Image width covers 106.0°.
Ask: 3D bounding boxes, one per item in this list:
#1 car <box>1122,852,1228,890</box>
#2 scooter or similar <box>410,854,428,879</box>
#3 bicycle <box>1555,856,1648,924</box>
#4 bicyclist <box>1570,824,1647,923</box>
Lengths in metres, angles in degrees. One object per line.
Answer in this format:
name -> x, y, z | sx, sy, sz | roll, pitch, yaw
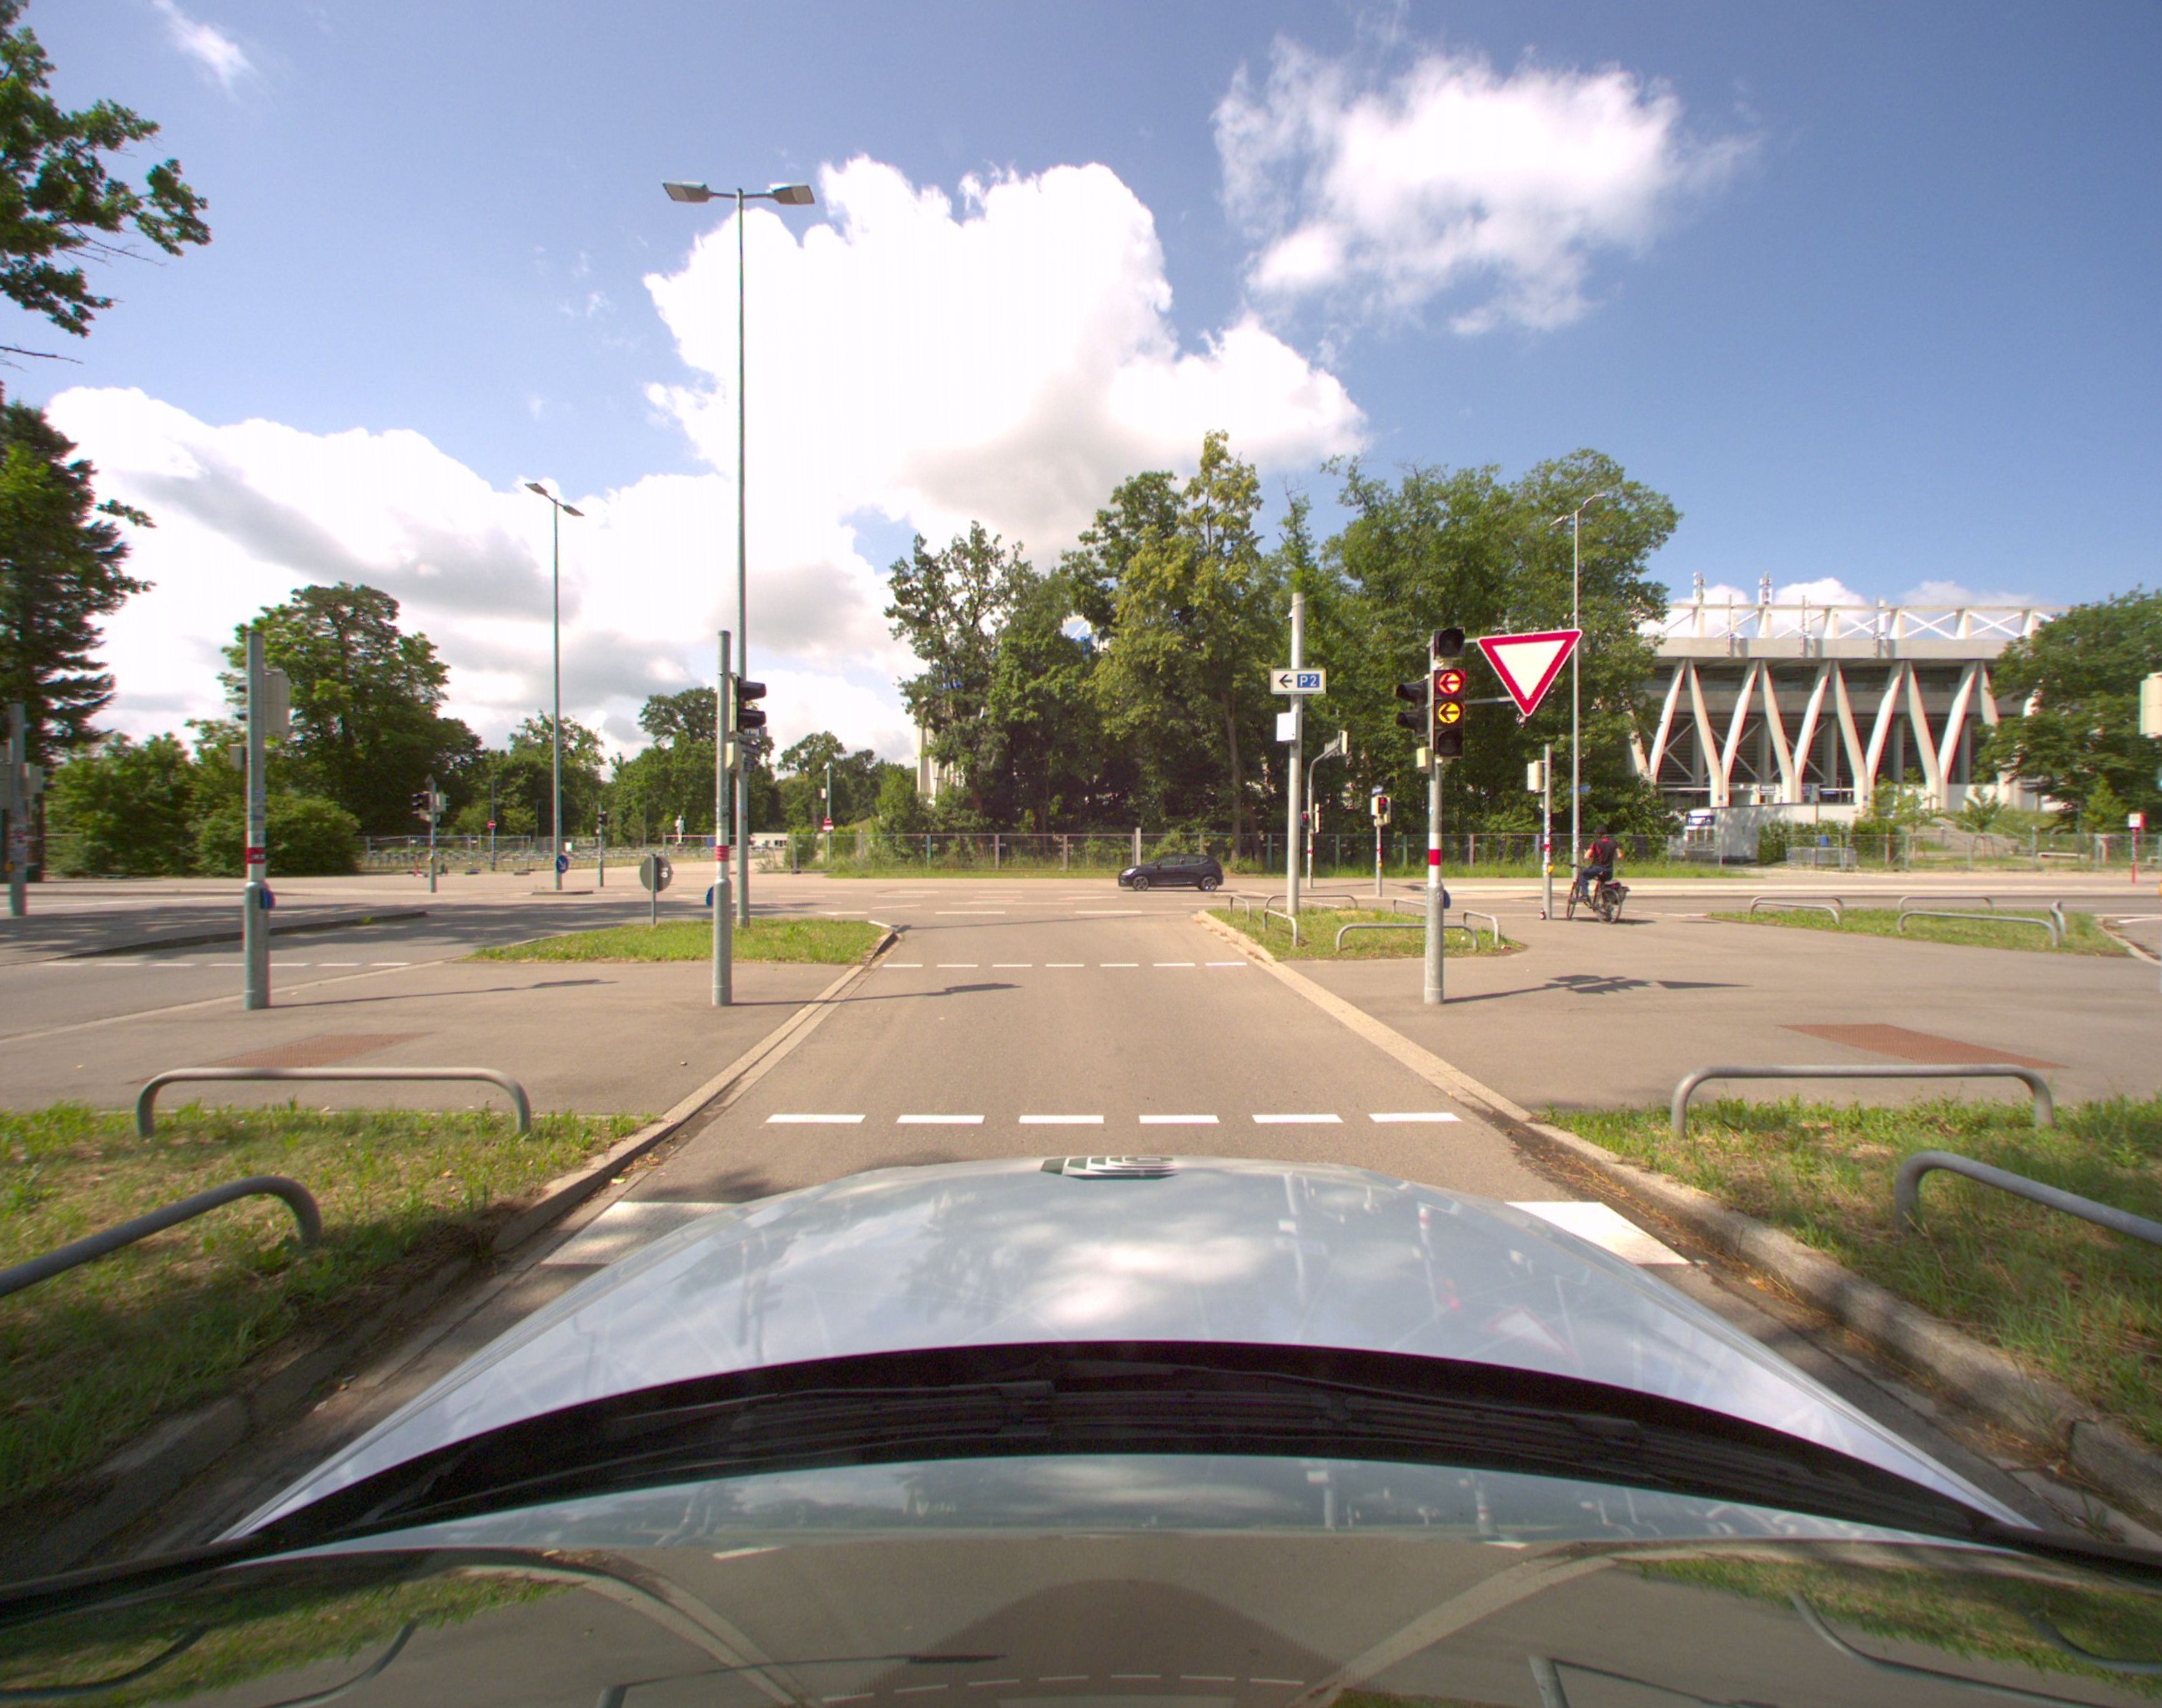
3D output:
car -> 3.555, 0.650, 31.309 | 3.948, 1.378, 1.603 | 0, -1, 1
scooter or similar -> -32.264, 0.598, 39.670 | 1.295, 1.200, 0.410 | 0, 1, 39
bicycle -> 9.961, 0.658, 15.668 | 0.875, 1.206, 1.903 | 1, 0, 11
bicyclist -> 9.919, 0.356, 15.347 | 0.879, 1.798, 0.981 | -1, -1, 10
